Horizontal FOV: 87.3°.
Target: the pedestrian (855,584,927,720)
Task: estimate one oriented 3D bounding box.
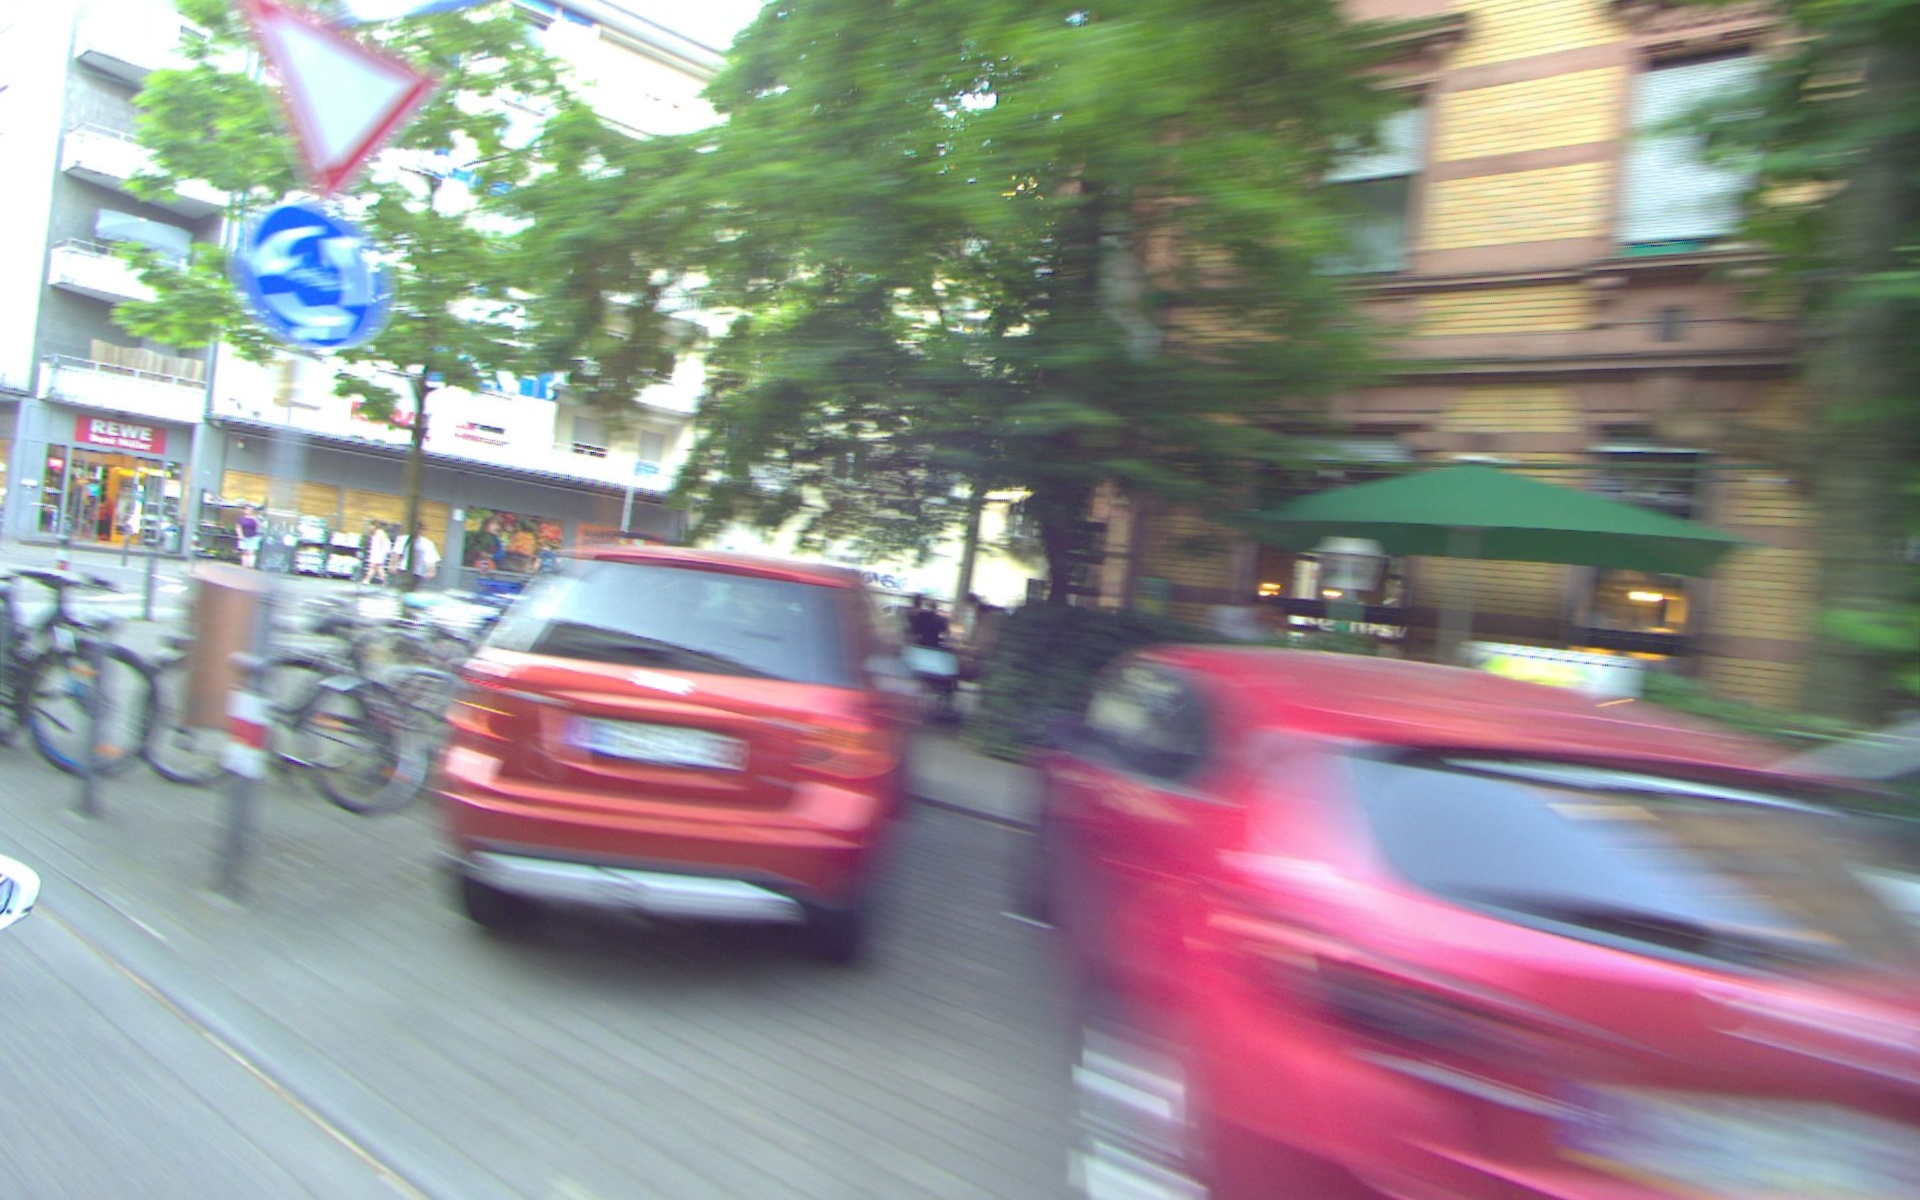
[{"bbox_3d":[-0.763,0.578,11.287,0.608,1.425,0.514,7,-1,-1],"label":"pedestrian"}]

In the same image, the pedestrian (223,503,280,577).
[{"bbox_3d":[-17.342,-1.460,24.645,0.706,1.671,0.713,7,-1,-9],"label":"pedestrian"}]

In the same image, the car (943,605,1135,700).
[{"bbox_3d":[1.594,1.084,21.841,1.892,1.543,4.260,8,-2,-31],"label":"car"}]

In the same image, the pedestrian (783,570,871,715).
[{"bbox_3d":[-1.384,0.455,10.546,0.505,1.425,0.640,7,-1,20],"label":"pedestrian"}]

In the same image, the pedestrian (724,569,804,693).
[{"bbox_3d":[-2.351,0.376,12.054,0.566,1.396,0.544,6,-1,39],"label":"pedestrian"}]

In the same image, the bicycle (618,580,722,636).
[{"bbox_3d":[-7.113,0.221,24.801,2.272,1.086,0.781,8,0,-45],"label":"bicycle"}]

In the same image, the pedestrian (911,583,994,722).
[{"bbox_3d":[-0.074,0.574,11.036,0.608,1.425,0.514,7,-1,20],"label":"pedestrian"}]

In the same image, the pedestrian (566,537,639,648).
[{"bbox_3d":[-6.420,-0.135,18.064,0.860,1.849,0.830,8,-1,-33],"label":"pedestrian"}]

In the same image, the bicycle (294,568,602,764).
[{"bbox_3d":[-3.503,0.444,6.952,1.735,1.076,0.599,7,-1,6],"label":"bicycle"}]

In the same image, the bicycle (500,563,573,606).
[{"bbox_3d":[-12.615,-0.450,30.018,1.865,1.038,0.374,9,-2,-34],"label":"bicycle"}]

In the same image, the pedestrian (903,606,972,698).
[{"bbox_3d":[-0.363,0.835,16.149,0.729,1.361,0.625,6,-1,36],"label":"pedestrian"}]

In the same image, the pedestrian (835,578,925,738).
[{"bbox_3d":[-0.751,0.555,9.594,0.505,1.425,0.555,7,-1,20],"label":"pedestrian"}]

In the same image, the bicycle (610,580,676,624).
[{"bbox_3d":[-9.178,0.067,29.207,0.371,1.038,2.013,6,-2,31],"label":"bicycle"}]

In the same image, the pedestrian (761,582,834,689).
[{"bbox_3d":[-2.087,0.459,12.916,0.565,1.284,0.545,6,-1,33],"label":"pedestrian"}]

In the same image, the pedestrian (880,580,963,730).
[{"bbox_3d":[-0.381,0.563,10.231,0.505,1.425,0.555,7,-1,20],"label":"pedestrian"}]

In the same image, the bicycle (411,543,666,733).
[{"bbox_3d":[-3.478,0.313,8.362,1.735,1.303,0.599,7,-1,6],"label":"bicycle"}]

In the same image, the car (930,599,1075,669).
[{"bbox_3d":[1.449,1.176,34.796,4.470,1.805,1.997,6,-2,32],"label":"car"}]

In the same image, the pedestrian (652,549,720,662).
[{"bbox_3d":[-4.577,0.093,16.756,0.825,1.743,0.865,8,-1,-20],"label":"pedestrian"}]

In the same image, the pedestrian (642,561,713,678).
[{"bbox_3d":[-3.570,0.251,12.723,0.459,1.396,0.546,6,-1,30],"label":"pedestrian"}]

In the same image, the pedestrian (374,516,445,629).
[{"bbox_3d":[-9.492,-0.465,17.386,0.858,1.790,0.942,8,-1,-27],"label":"pedestrian"}]

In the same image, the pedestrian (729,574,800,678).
[{"bbox_3d":[-2.587,0.351,13.343,0.565,1.284,0.545,6,-1,33],"label":"pedestrian"}]

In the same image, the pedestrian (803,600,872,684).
[{"bbox_3d":[-1.975,0.682,16.229,0.729,1.246,0.625,6,-2,36],"label":"pedestrian"}]

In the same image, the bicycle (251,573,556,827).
[{"bbox_3d":[-2.981,0.504,5.570,0.358,1.175,1.552,7,0,18],"label":"bicycle"}]

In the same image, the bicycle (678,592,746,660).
[{"bbox_3d":[-4.858,0.483,19.596,0.432,1.147,2.016,8,-2,-36],"label":"bicycle"}]

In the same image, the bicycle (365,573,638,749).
[{"bbox_3d":[-3.430,0.435,7.583,1.735,1.077,0.598,7,2,6],"label":"bicycle"}]

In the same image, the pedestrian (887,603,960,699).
[{"bbox_3d":[-0.561,0.779,15.439,0.729,1.361,0.625,6,-1,36],"label":"pedestrian"}]

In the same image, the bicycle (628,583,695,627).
[{"bbox_3d":[-8.514,0.171,28.798,0.371,1.038,2.013,6,-2,31],"label":"bicycle"}]

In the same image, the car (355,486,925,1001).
[{"bbox_3d":[-1.237,0.499,5.647,1.662,1.648,4.047,8,1,1],"label":"car"}]

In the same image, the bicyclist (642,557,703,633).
[{"bbox_3d":[-7.082,-0.111,24.788,0.992,1.710,0.781,7,1,-45],"label":"bicyclist"}]

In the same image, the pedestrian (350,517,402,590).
[{"bbox_3d":[-15.044,-1.192,25.915,0.654,1.746,0.723,7,-1,20],"label":"pedestrian"}]

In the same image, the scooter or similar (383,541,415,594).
[{"bbox_3d":[-14.930,-0.879,26.779,0.320,1.282,1.273,8,0,-42],"label":"scooter or similar"}]

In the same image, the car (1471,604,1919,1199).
[{"bbox_3d":[3.400,1.008,2.498,1.898,1.644,4.220,6,2,-1],"label":"car"}]

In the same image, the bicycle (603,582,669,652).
[{"bbox_3d":[-6.044,0.295,18.694,0.432,1.147,2.016,8,-2,-36],"label":"bicycle"}]

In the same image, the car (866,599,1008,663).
[{"bbox_3d":[-0.817,1.018,33.411,4.483,1.543,1.992,5,-3,42],"label":"car"}]

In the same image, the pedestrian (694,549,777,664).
[{"bbox_3d":[-3.889,0.130,17.456,0.853,1.849,0.836,7,-1,27],"label":"pedestrian"}]

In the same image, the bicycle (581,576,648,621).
[{"bbox_3d":[-9.587,-0.031,27.949,1.651,1.038,0.374,9,-2,-40],"label":"bicycle"}]

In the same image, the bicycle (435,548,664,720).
[{"bbox_3d":[-3.704,0.307,9.171,1.692,1.304,0.598,8,0,-4],"label":"bicycle"}]

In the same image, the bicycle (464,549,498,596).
[{"bbox_3d":[-13.569,-0.754,28.544,0.343,1.217,1.806,7,-2,-12],"label":"bicycle"}]

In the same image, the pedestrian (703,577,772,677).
[{"bbox_3d":[-3.052,0.370,13.837,0.565,1.284,0.545,6,-1,33],"label":"pedestrian"}]

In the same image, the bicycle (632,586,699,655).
[{"bbox_3d":[-5.591,0.369,19.012,0.432,1.147,2.016,8,-2,-36],"label":"bicycle"}]

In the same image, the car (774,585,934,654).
[{"bbox_3d":[-3.349,0.615,31.865,4.460,1.543,2.002,7,-2,20],"label":"car"}]

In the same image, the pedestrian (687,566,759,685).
[{"bbox_3d":[-2.929,0.325,12.450,0.459,1.396,0.546,6,-1,30],"label":"pedestrian"}]

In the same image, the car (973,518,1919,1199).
[{"bbox_3d":[1.288,0.770,3.521,1.899,1.710,4.217,6,2,-5],"label":"car"}]

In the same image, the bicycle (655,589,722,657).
[{"bbox_3d":[-5.236,0.420,19.296,0.432,1.147,2.016,8,-2,-36],"label":"bicycle"}]

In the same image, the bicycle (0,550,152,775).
[{"bbox_3d":[-5.188,0.300,5.648,1.526,1.076,0.365,6,-1,29],"label":"bicycle"}]

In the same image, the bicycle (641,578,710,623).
[{"bbox_3d":[-8.046,0.029,28.560,0.483,1.038,2.013,6,-2,31],"label":"bicycle"}]

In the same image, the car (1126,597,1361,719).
[{"bbox_3d":[7.137,1.400,25.984,2.226,2.448,5.492,8,-2,-35],"label":"car"}]

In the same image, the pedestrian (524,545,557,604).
[{"bbox_3d":[-12.206,-0.748,29.268,0.659,1.619,0.713,8,-1,-28],"label":"pedestrian"}]

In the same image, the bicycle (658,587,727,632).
[{"bbox_3d":[-7.483,0.284,28.238,0.483,1.038,2.013,6,-2,31],"label":"bicycle"}]
